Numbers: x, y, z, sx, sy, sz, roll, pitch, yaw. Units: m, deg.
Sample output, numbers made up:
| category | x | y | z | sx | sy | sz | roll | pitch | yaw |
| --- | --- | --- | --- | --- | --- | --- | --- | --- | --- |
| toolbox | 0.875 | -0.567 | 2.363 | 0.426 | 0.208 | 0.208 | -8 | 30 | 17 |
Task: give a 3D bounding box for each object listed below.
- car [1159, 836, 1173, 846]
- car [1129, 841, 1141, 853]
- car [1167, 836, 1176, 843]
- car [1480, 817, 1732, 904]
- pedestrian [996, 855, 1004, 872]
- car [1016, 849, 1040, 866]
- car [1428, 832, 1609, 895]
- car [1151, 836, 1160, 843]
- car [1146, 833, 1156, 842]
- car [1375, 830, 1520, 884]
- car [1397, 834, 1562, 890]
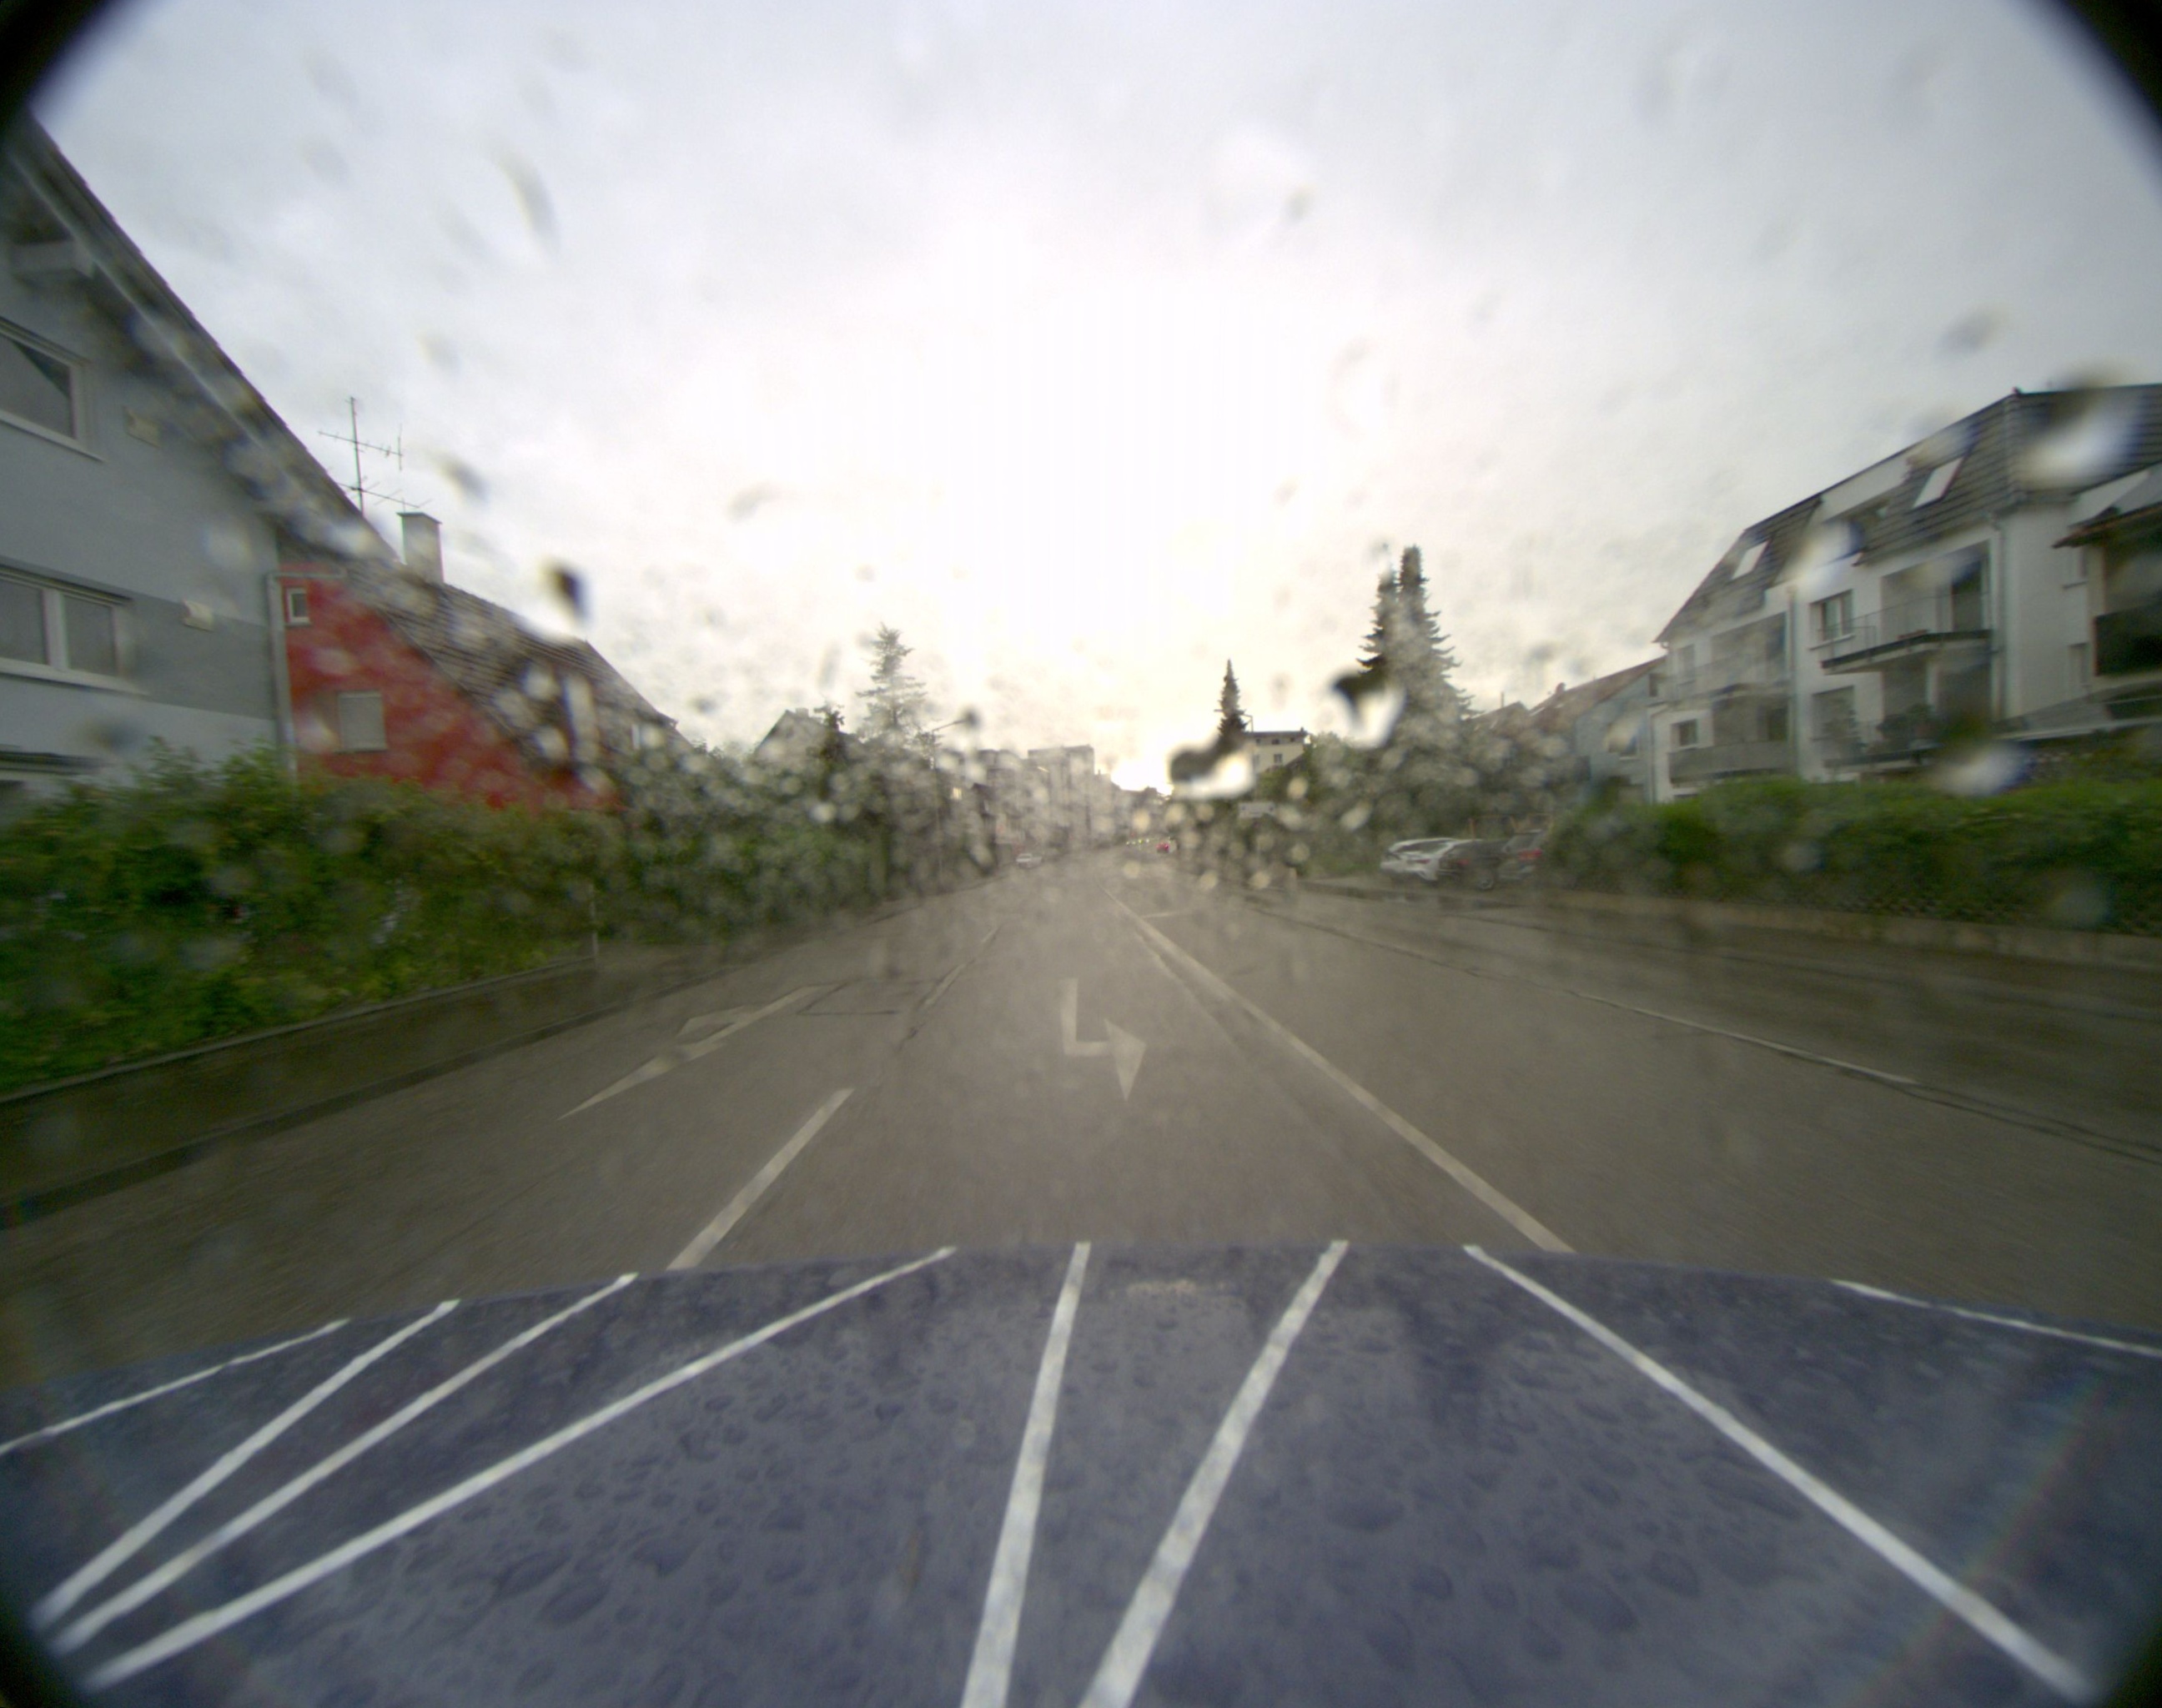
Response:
| category | x | y | z | sx | sy | sz | roll | pitch | yaw |
| --- | --- | --- | --- | --- | --- | --- | --- | --- | --- |
| car | 13.921 | -2.115 | 124.815 | 1.997 | 1.606 | 4.002 | -3 | 1 | 9 |
| car | 9.036 | -1.225 | 128.090 | 1.852 | 1.870 | 4.121 | -3 | 1 | 3 |
| car | 23.540 | -3.838 | 198.515 | 1.850 | 1.753 | 4.124 | -3 | 1 | 12 |
| car | 12.373 | 0.153 | 18.194 | 4.467 | 1.651 | 2.001 | -4 | 1 | 6 |
| pedestrian | -8.069 | 0.925 | 75.425 | 0.696 | 1.622 | 0.621 | -2 | 1 | -2 |
| car | -5.406 | 0.311 | 77.262 | 1.912 | 1.622 | 3.702 | -3 | 1 | 3 |
| car | 12.386 | 0.259 | 21.713 | 4.034 | 1.434 | 1.813 | -4 | 1 | 4 |
| car | 19.175 | -3.664 | 196.046 | 1.850 | 1.753 | 4.124 | -3 | 1 | 12 |
| car | 14.651 | -3.479 | 158.564 | 1.851 | 1.753 | 4.123 | -3 | 1 | 9 |
| car | 12.835 | 0.099 | 26.842 | 4.115 | 1.536 | 2.000 | -4 | 1 | 4 |
| car | 12.525 | 0.238 | 24.120 | 4.155 | 1.434 | 1.890 | -4 | 1 | 6 |
